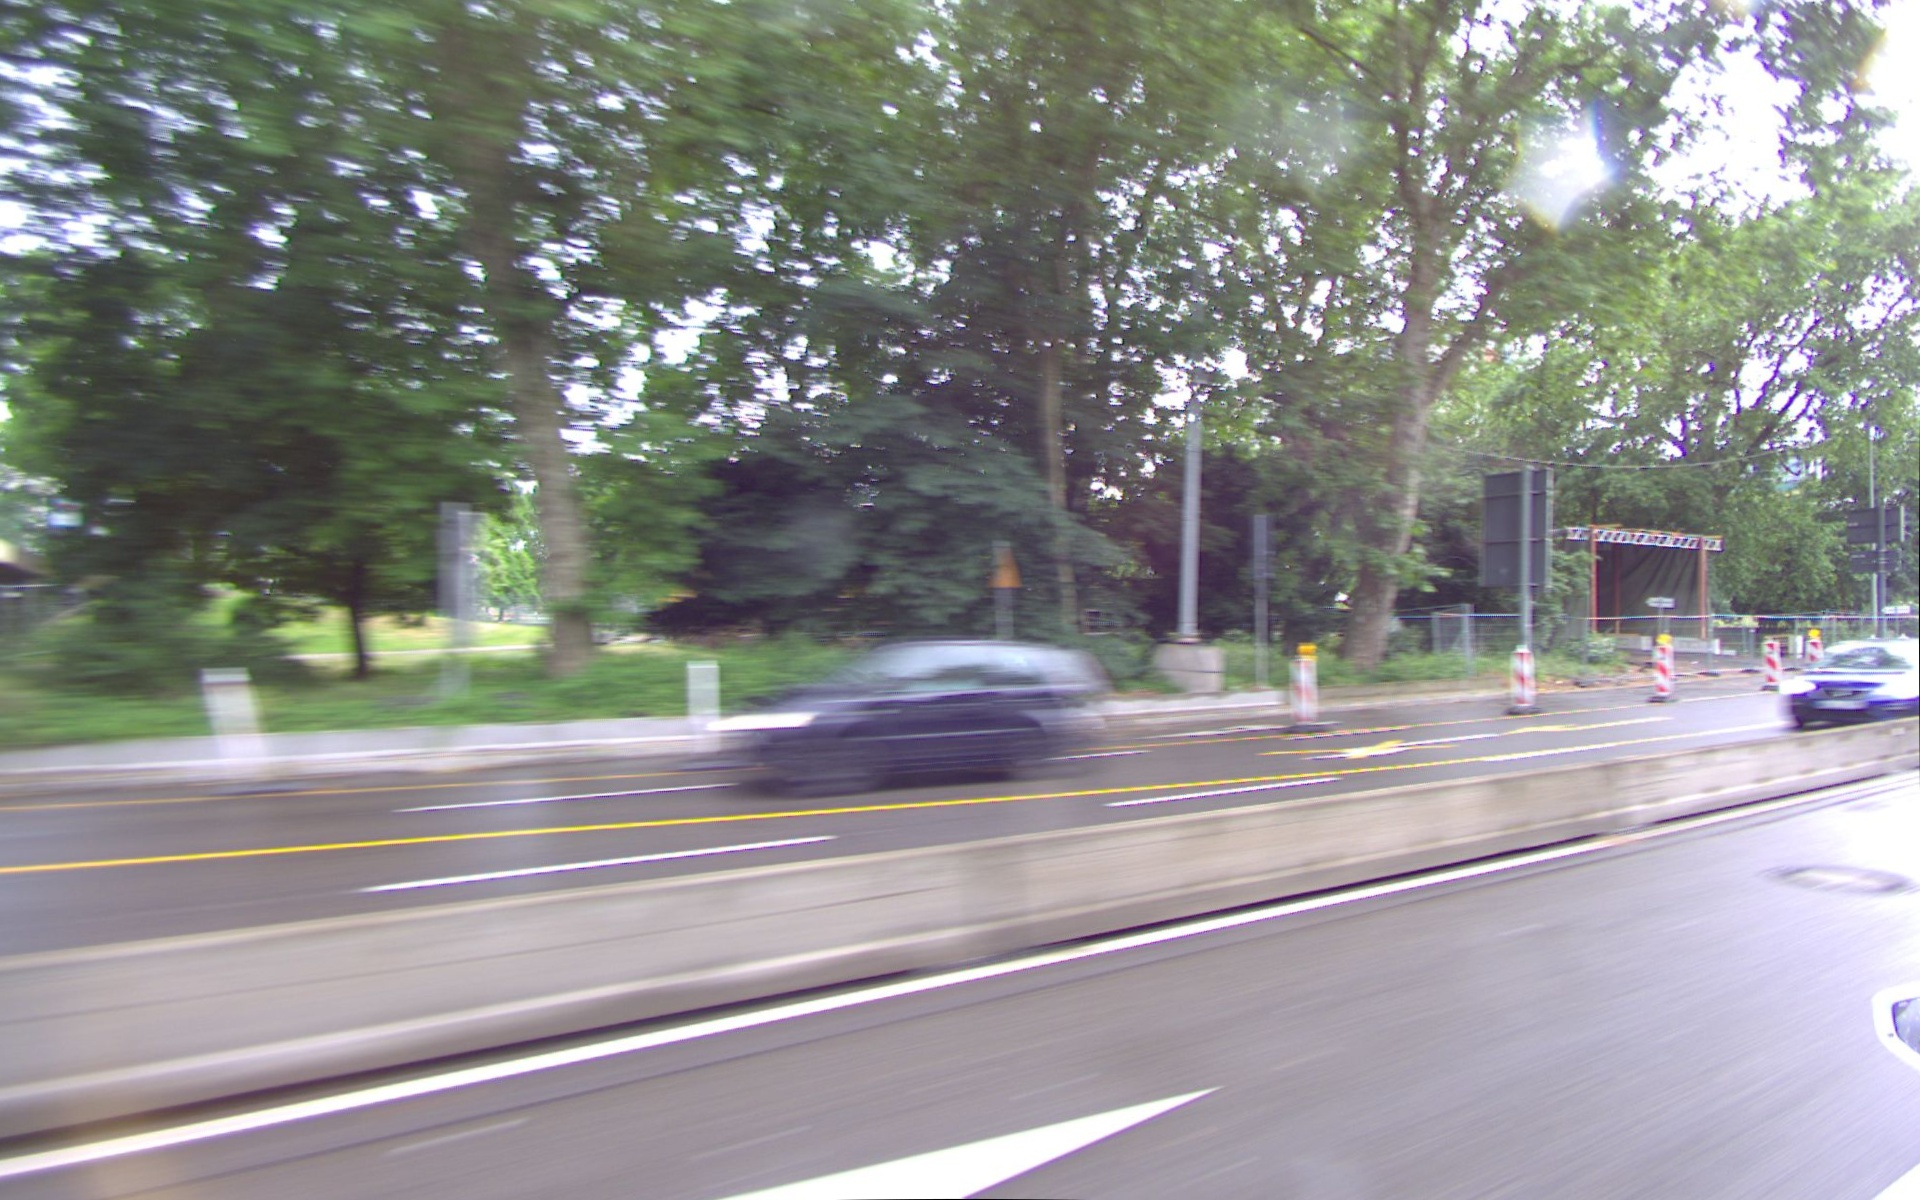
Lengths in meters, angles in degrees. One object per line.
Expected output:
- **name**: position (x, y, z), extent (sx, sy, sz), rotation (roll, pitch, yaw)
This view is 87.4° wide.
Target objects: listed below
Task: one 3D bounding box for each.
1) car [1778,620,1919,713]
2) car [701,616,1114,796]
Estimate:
- **car**: position (15.253, 1.078, 16.591), extent (4.023, 1.356, 1.701), rotation (2, -4, -36)
- **car**: position (-0.566, 1.050, 11.442), extent (4.266, 1.675, 2.022), rotation (0, -1, -29)
